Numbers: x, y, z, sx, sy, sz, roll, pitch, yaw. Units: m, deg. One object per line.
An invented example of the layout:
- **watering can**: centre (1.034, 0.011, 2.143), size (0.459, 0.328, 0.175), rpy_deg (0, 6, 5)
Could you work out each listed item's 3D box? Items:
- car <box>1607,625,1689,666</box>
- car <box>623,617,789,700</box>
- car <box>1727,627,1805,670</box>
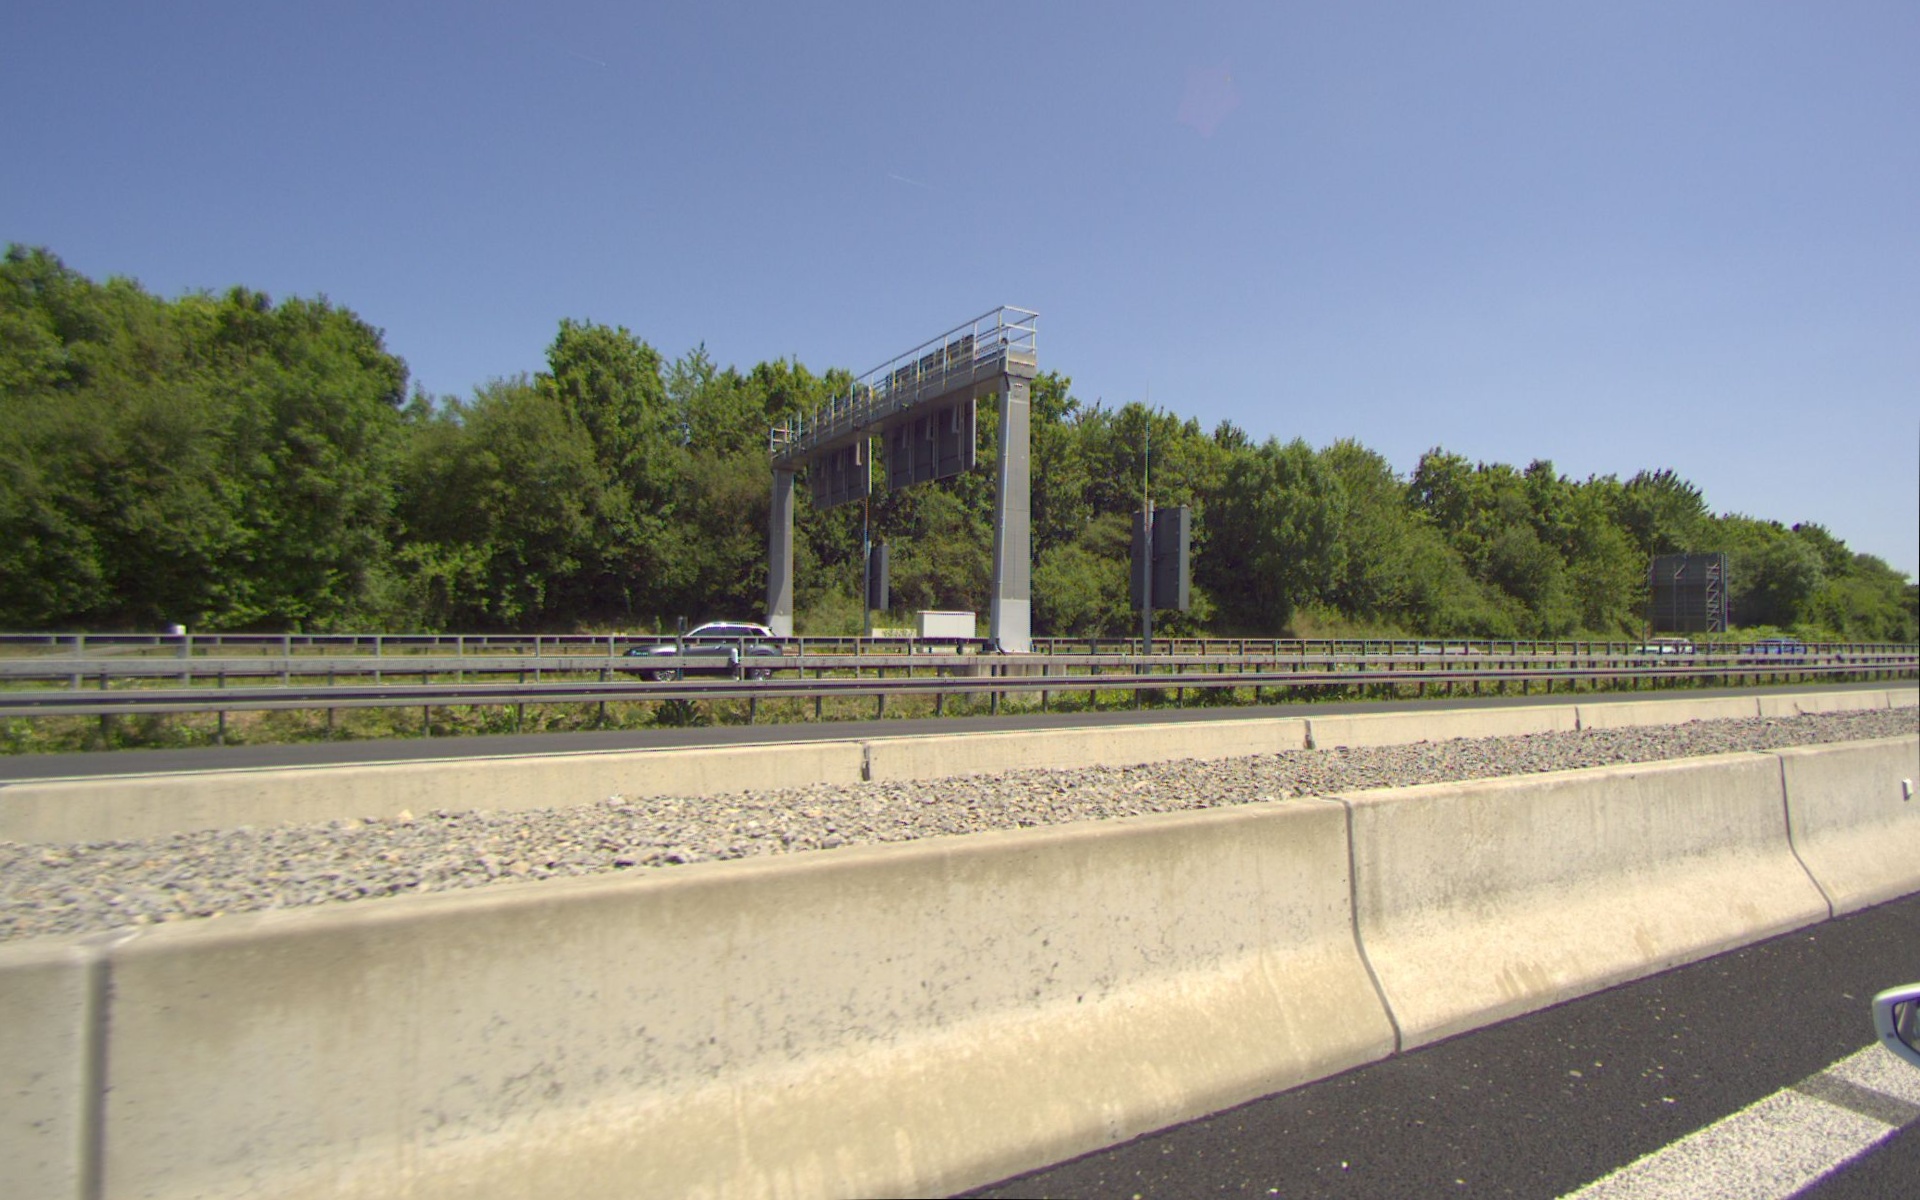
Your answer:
- **car**: centre (36.126, 2.391, 52.754), size (3.952, 2.040, 1.984), rpy_deg (2, 0, -30)
- **car**: centre (-6.899, 1.562, 27.355), size (3.954, 2.040, 1.983), rpy_deg (2, 0, -31)
- **car**: centre (41.412, 2.463, 51.590), size (3.958, 2.040, 1.982), rpy_deg (2, 0, -33)
